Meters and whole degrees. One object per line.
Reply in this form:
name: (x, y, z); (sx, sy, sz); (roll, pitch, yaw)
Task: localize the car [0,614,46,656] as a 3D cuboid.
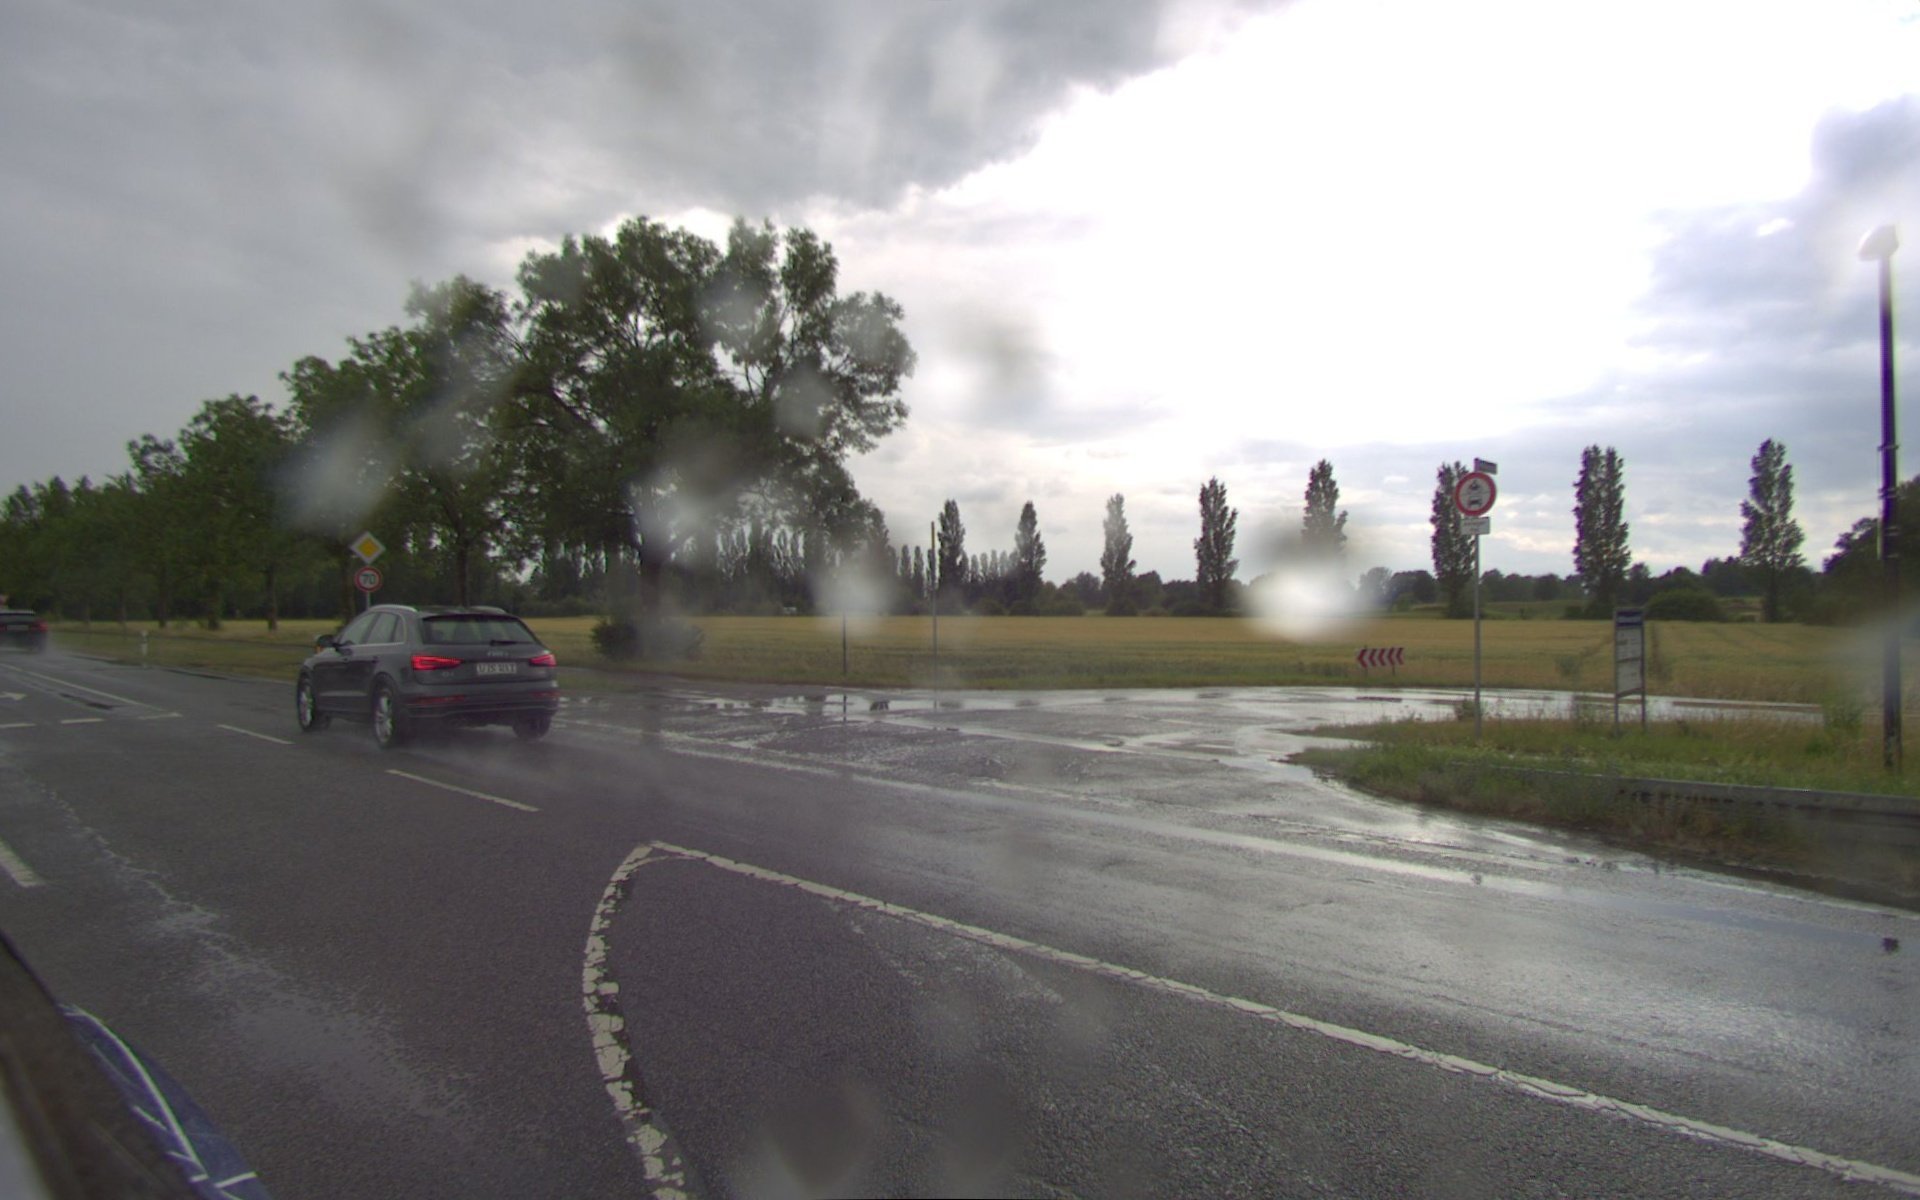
car: (-37.391, 1.348, 39.557); (4.440, 1.592, 1.924); (-1, -2, 41)

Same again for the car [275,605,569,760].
car: (-6.503, 0.854, 12.038); (4.139, 1.535, 1.750); (-1, -1, 41)
